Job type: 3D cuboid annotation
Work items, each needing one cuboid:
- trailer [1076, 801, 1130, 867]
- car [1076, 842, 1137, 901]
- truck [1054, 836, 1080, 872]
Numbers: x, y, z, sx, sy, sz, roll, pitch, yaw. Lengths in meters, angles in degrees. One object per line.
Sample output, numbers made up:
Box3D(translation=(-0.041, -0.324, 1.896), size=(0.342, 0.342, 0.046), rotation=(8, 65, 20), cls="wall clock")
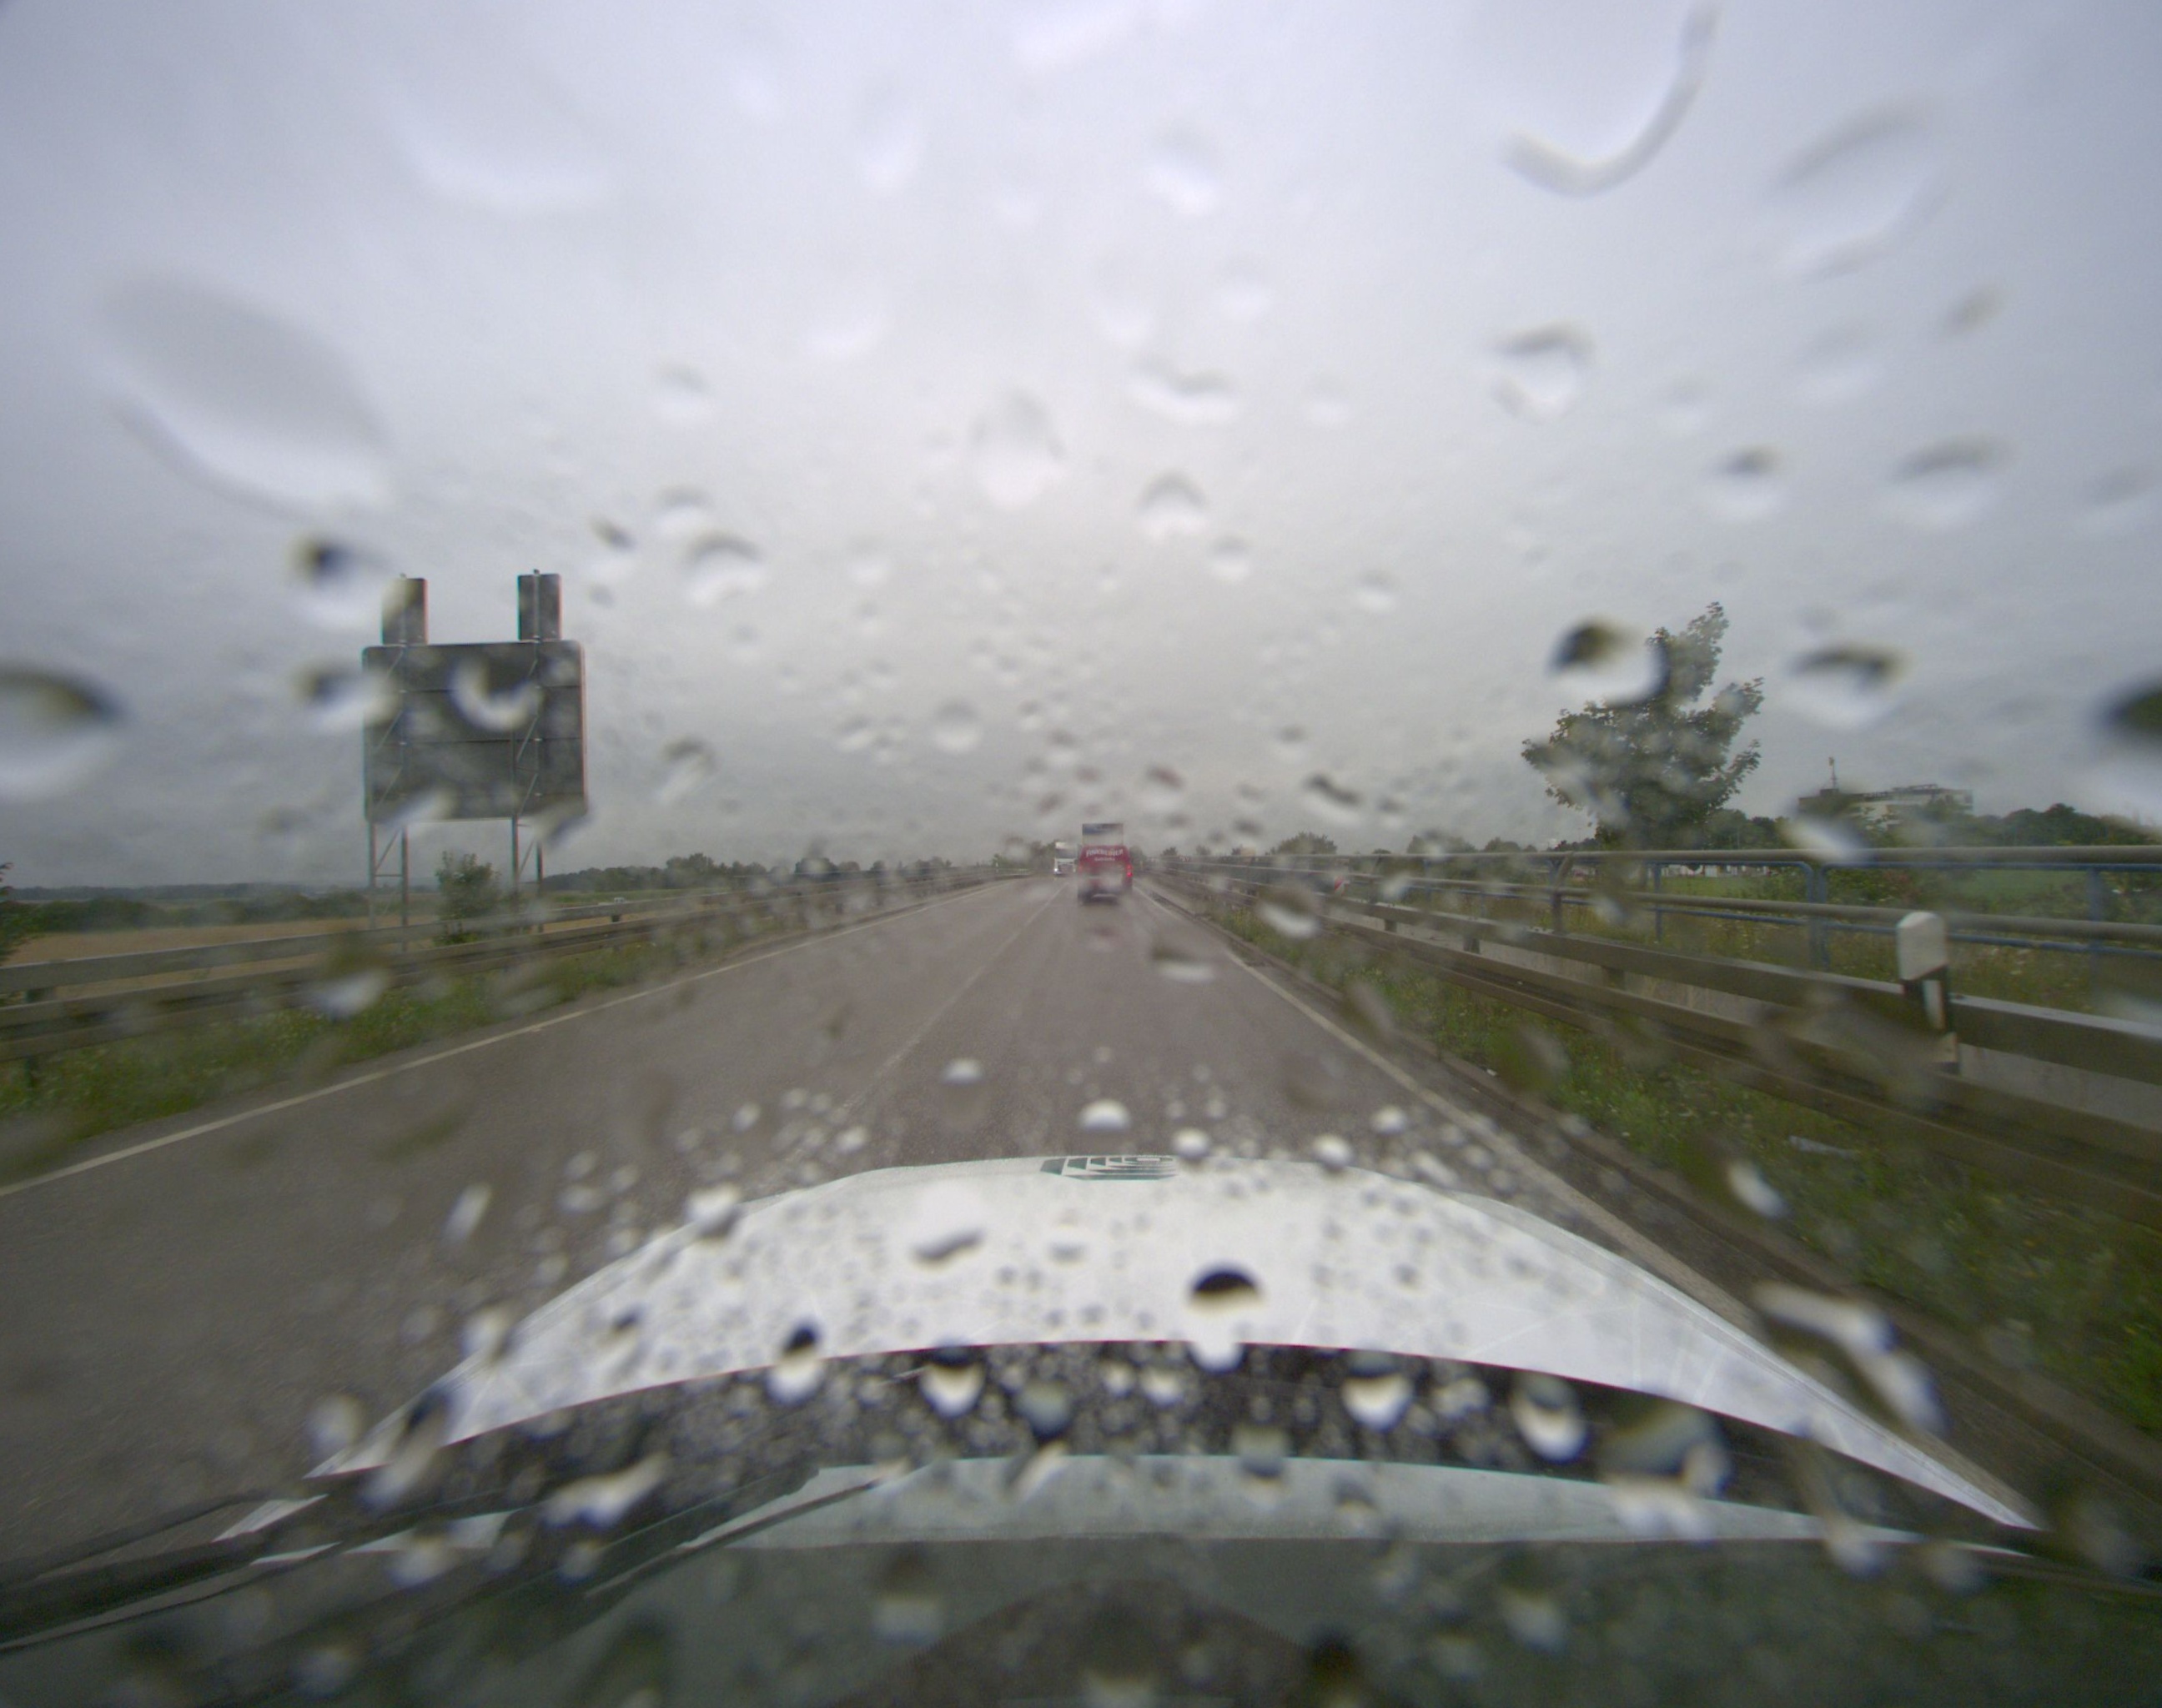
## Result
Box3D(translation=(1.516, -1.125, 53.582), size=(3.188, 3.922, 8.744), rotation=(2, -1, 2), cls="trailer")
Box3D(translation=(0.833, 0.570, 28.660), size=(1.987, 1.925, 4.143), rotation=(0, 0, 0), cls="car")
Box3D(translation=(-1.570, 0.063, 94.634), size=(2.808, 3.970, 8.763), rotation=(-1, -1, 0), cls="truck")
